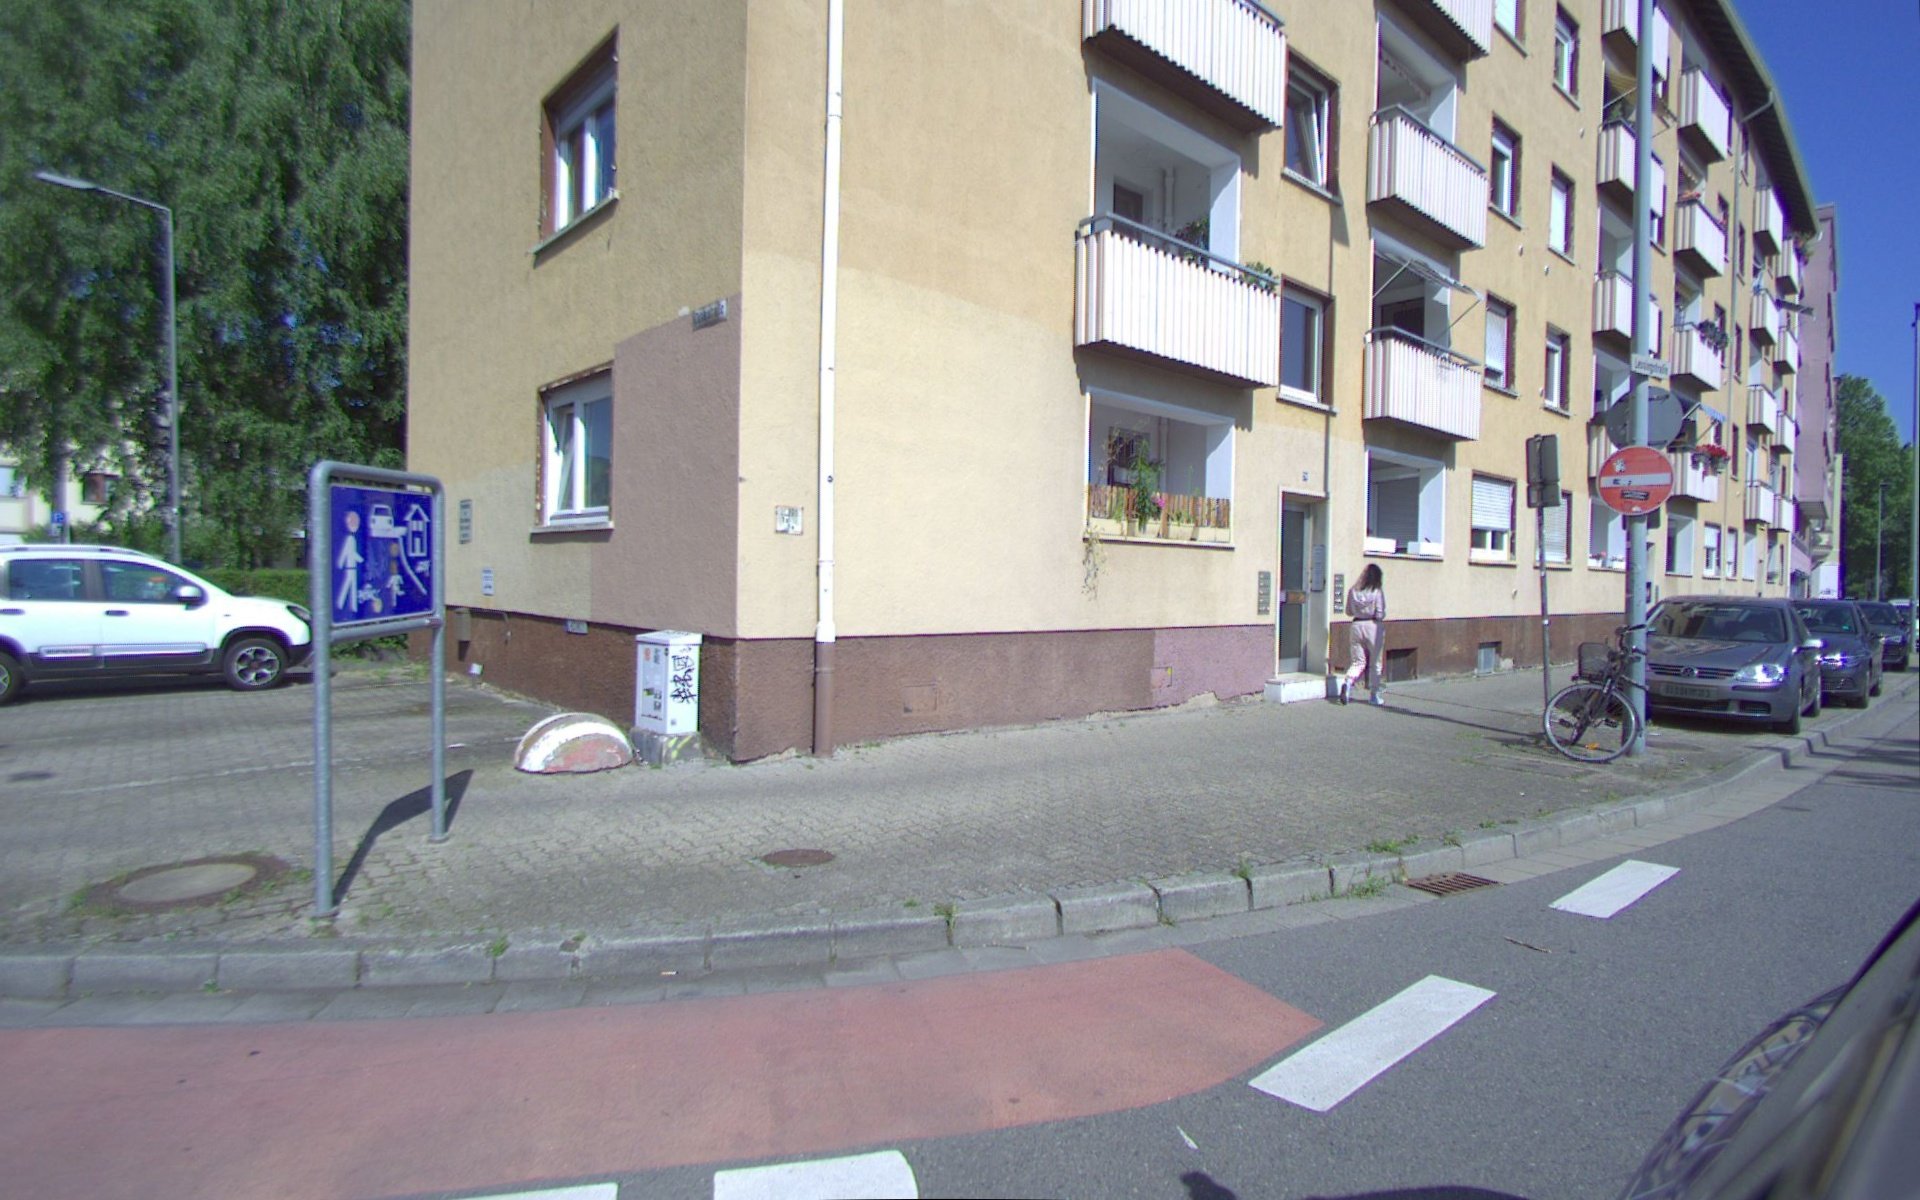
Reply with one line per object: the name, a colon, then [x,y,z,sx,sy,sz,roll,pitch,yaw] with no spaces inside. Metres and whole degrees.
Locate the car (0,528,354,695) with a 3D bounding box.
car: [-9.107,0.053,11.409,3.717,1.660,1.660,-2,3,-38]

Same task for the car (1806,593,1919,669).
car: [20.340,0.617,22.654,1.801,1.456,4.517,2,2,44]

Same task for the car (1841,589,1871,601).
car: [124.508,-0.757,140.653,1.850,1.470,4.172,3,3,24]

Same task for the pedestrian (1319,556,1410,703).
pedestrian: [4.669,0.316,11.684,0.809,1.629,0.656,0,1,-41]

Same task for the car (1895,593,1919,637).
car: [37.160,0.554,38.820,1.737,1.560,4.284,3,2,45]

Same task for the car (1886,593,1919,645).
car: [29.955,0.565,31.303,1.757,1.524,4.061,2,2,45]

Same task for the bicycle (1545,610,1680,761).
bicycle: [5.726,0.683,8.846,0.702,1.138,1.718,2,2,42]

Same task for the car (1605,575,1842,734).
car: [9.035,0.503,11.845,1.704,1.533,4.026,2,1,44]

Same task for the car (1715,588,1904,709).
car: [12.548,0.588,14.854,4.186,1.480,1.712,-1,2,-45]

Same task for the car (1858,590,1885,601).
car: [130.038,-0.591,144.336,1.661,1.487,3.551,1,1,21]
